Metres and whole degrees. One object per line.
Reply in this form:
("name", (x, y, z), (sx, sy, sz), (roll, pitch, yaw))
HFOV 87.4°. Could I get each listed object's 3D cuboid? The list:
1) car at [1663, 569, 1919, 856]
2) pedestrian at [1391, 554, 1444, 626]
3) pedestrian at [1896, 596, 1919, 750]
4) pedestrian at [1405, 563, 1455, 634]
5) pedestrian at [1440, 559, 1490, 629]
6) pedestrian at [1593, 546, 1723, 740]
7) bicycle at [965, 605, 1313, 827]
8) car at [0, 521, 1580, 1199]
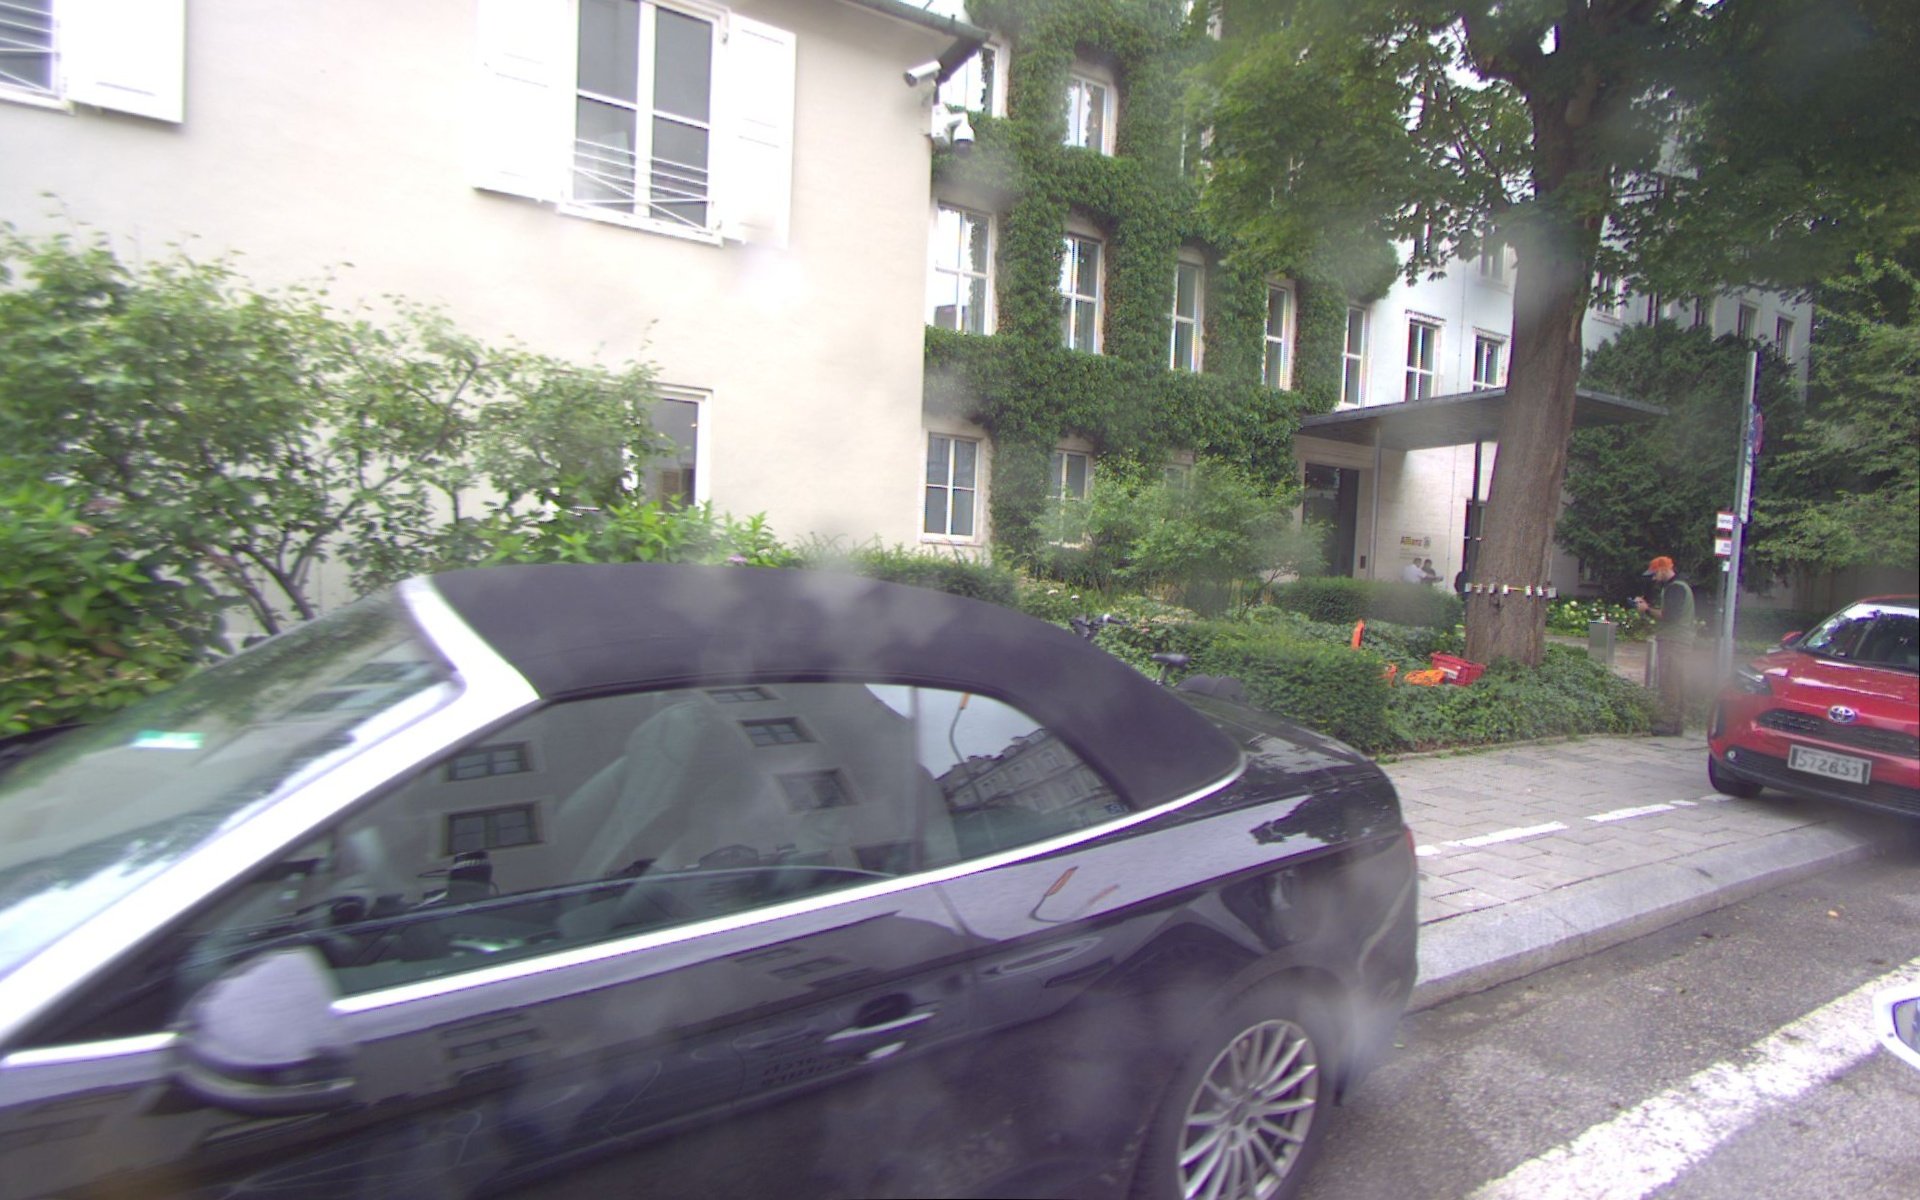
("car", (7.305, 0.713, 7.348), (4.478, 1.612, 1.876), (2, 3, -32))
("pedestrian", (11.612, -0.257, 25.492), (0.744, 1.776, 0.893), (1, 2, -32))
("pedestrian", (10.236, 0.772, 10.278), (0.745, 1.569, 0.709), (1, 4, -35))
("pedestrian", (12.218, -0.034, 26.111), (0.892, 1.776, 0.745), (3, 1, -34))
("pedestrian", (13.431, -0.162, 26.725), (0.892, 1.776, 0.745), (3, 1, -34))
("pedestrian", (7.110, 0.419, 10.243), (0.788, 1.877, 0.709), (2, 3, -31))
("bicycle", (1.096, 0.641, 6.020), (2.020, 1.145, 0.647), (2, 2, -26))
("car", (-0.810, 0.619, 2.164), (4.874, 1.421, 1.795), (2, 3, -35))
